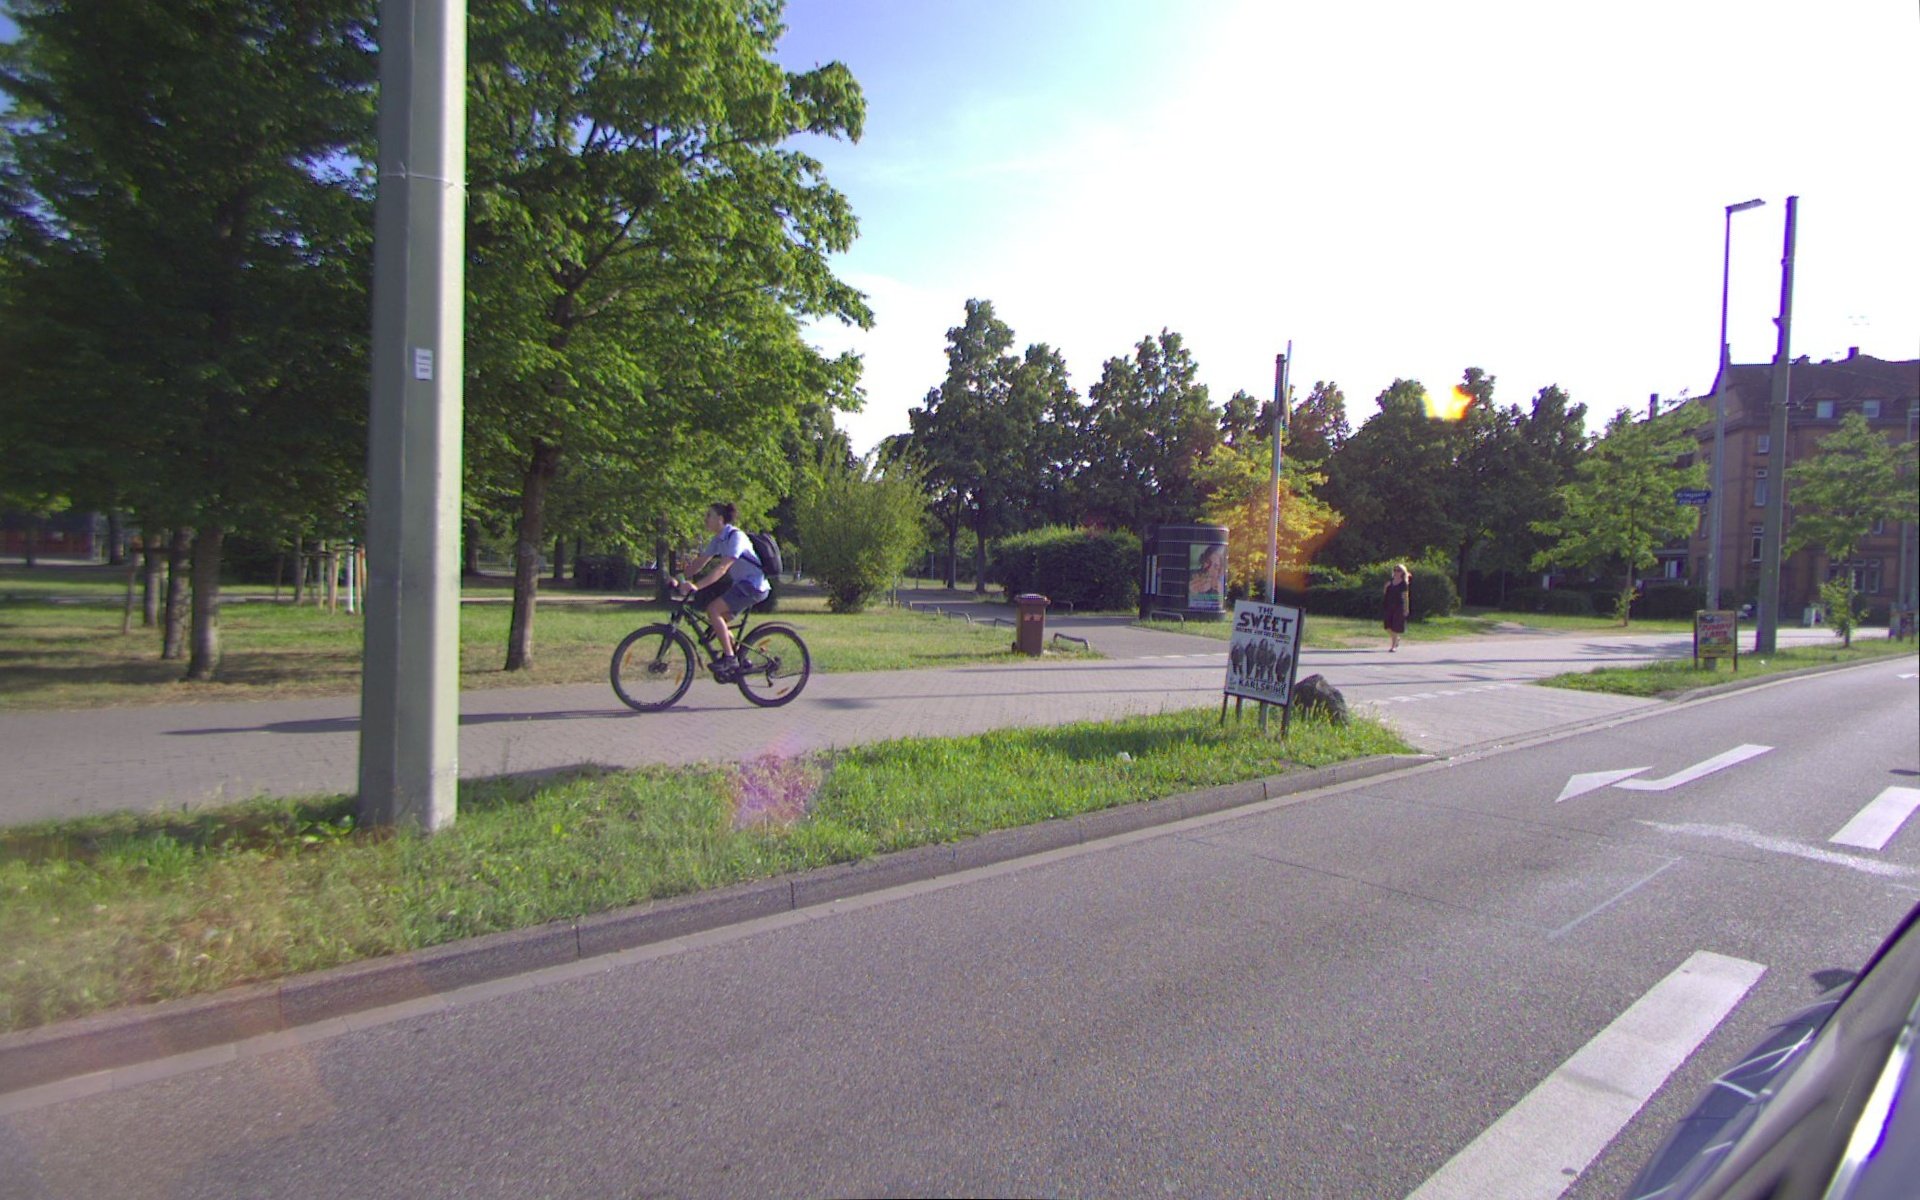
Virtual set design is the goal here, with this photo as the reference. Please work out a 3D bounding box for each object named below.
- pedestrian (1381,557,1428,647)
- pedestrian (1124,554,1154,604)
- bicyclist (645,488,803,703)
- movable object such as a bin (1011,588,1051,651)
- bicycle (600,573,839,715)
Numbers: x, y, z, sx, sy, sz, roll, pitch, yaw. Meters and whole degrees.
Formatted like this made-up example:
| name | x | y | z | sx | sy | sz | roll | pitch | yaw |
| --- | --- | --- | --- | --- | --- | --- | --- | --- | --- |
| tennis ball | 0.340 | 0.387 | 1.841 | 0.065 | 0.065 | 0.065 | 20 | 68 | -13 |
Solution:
| name | x | y | z | sx | sy | sz | roll | pitch | yaw |
| --- | --- | --- | --- | --- | --- | --- | --- | --- | --- |
| pedestrian | 8.745 | 0.036 | 19.916 | 0.651 | 1.722 | 0.558 | 1 | 2 | -41 |
| pedestrian | 7.945 | -0.923 | 44.904 | 0.872 | 2.184 | 0.914 | 1 | 1 | -28 |
| bicyclist | -2.074 | -0.056 | 8.885 | 1.118 | 1.766 | 0.652 | 1 | 5 | -35 |
| movable object such as a bin | 1.070 | 0.286 | 15.319 | 0.514 | 0.915 | 0.504 | 2 | 1 | -2 |
| bicycle | -2.088 | 0.352 | 8.907 | 1.903 | 1.101 | 0.643 | 1 | 4 | -35 |
